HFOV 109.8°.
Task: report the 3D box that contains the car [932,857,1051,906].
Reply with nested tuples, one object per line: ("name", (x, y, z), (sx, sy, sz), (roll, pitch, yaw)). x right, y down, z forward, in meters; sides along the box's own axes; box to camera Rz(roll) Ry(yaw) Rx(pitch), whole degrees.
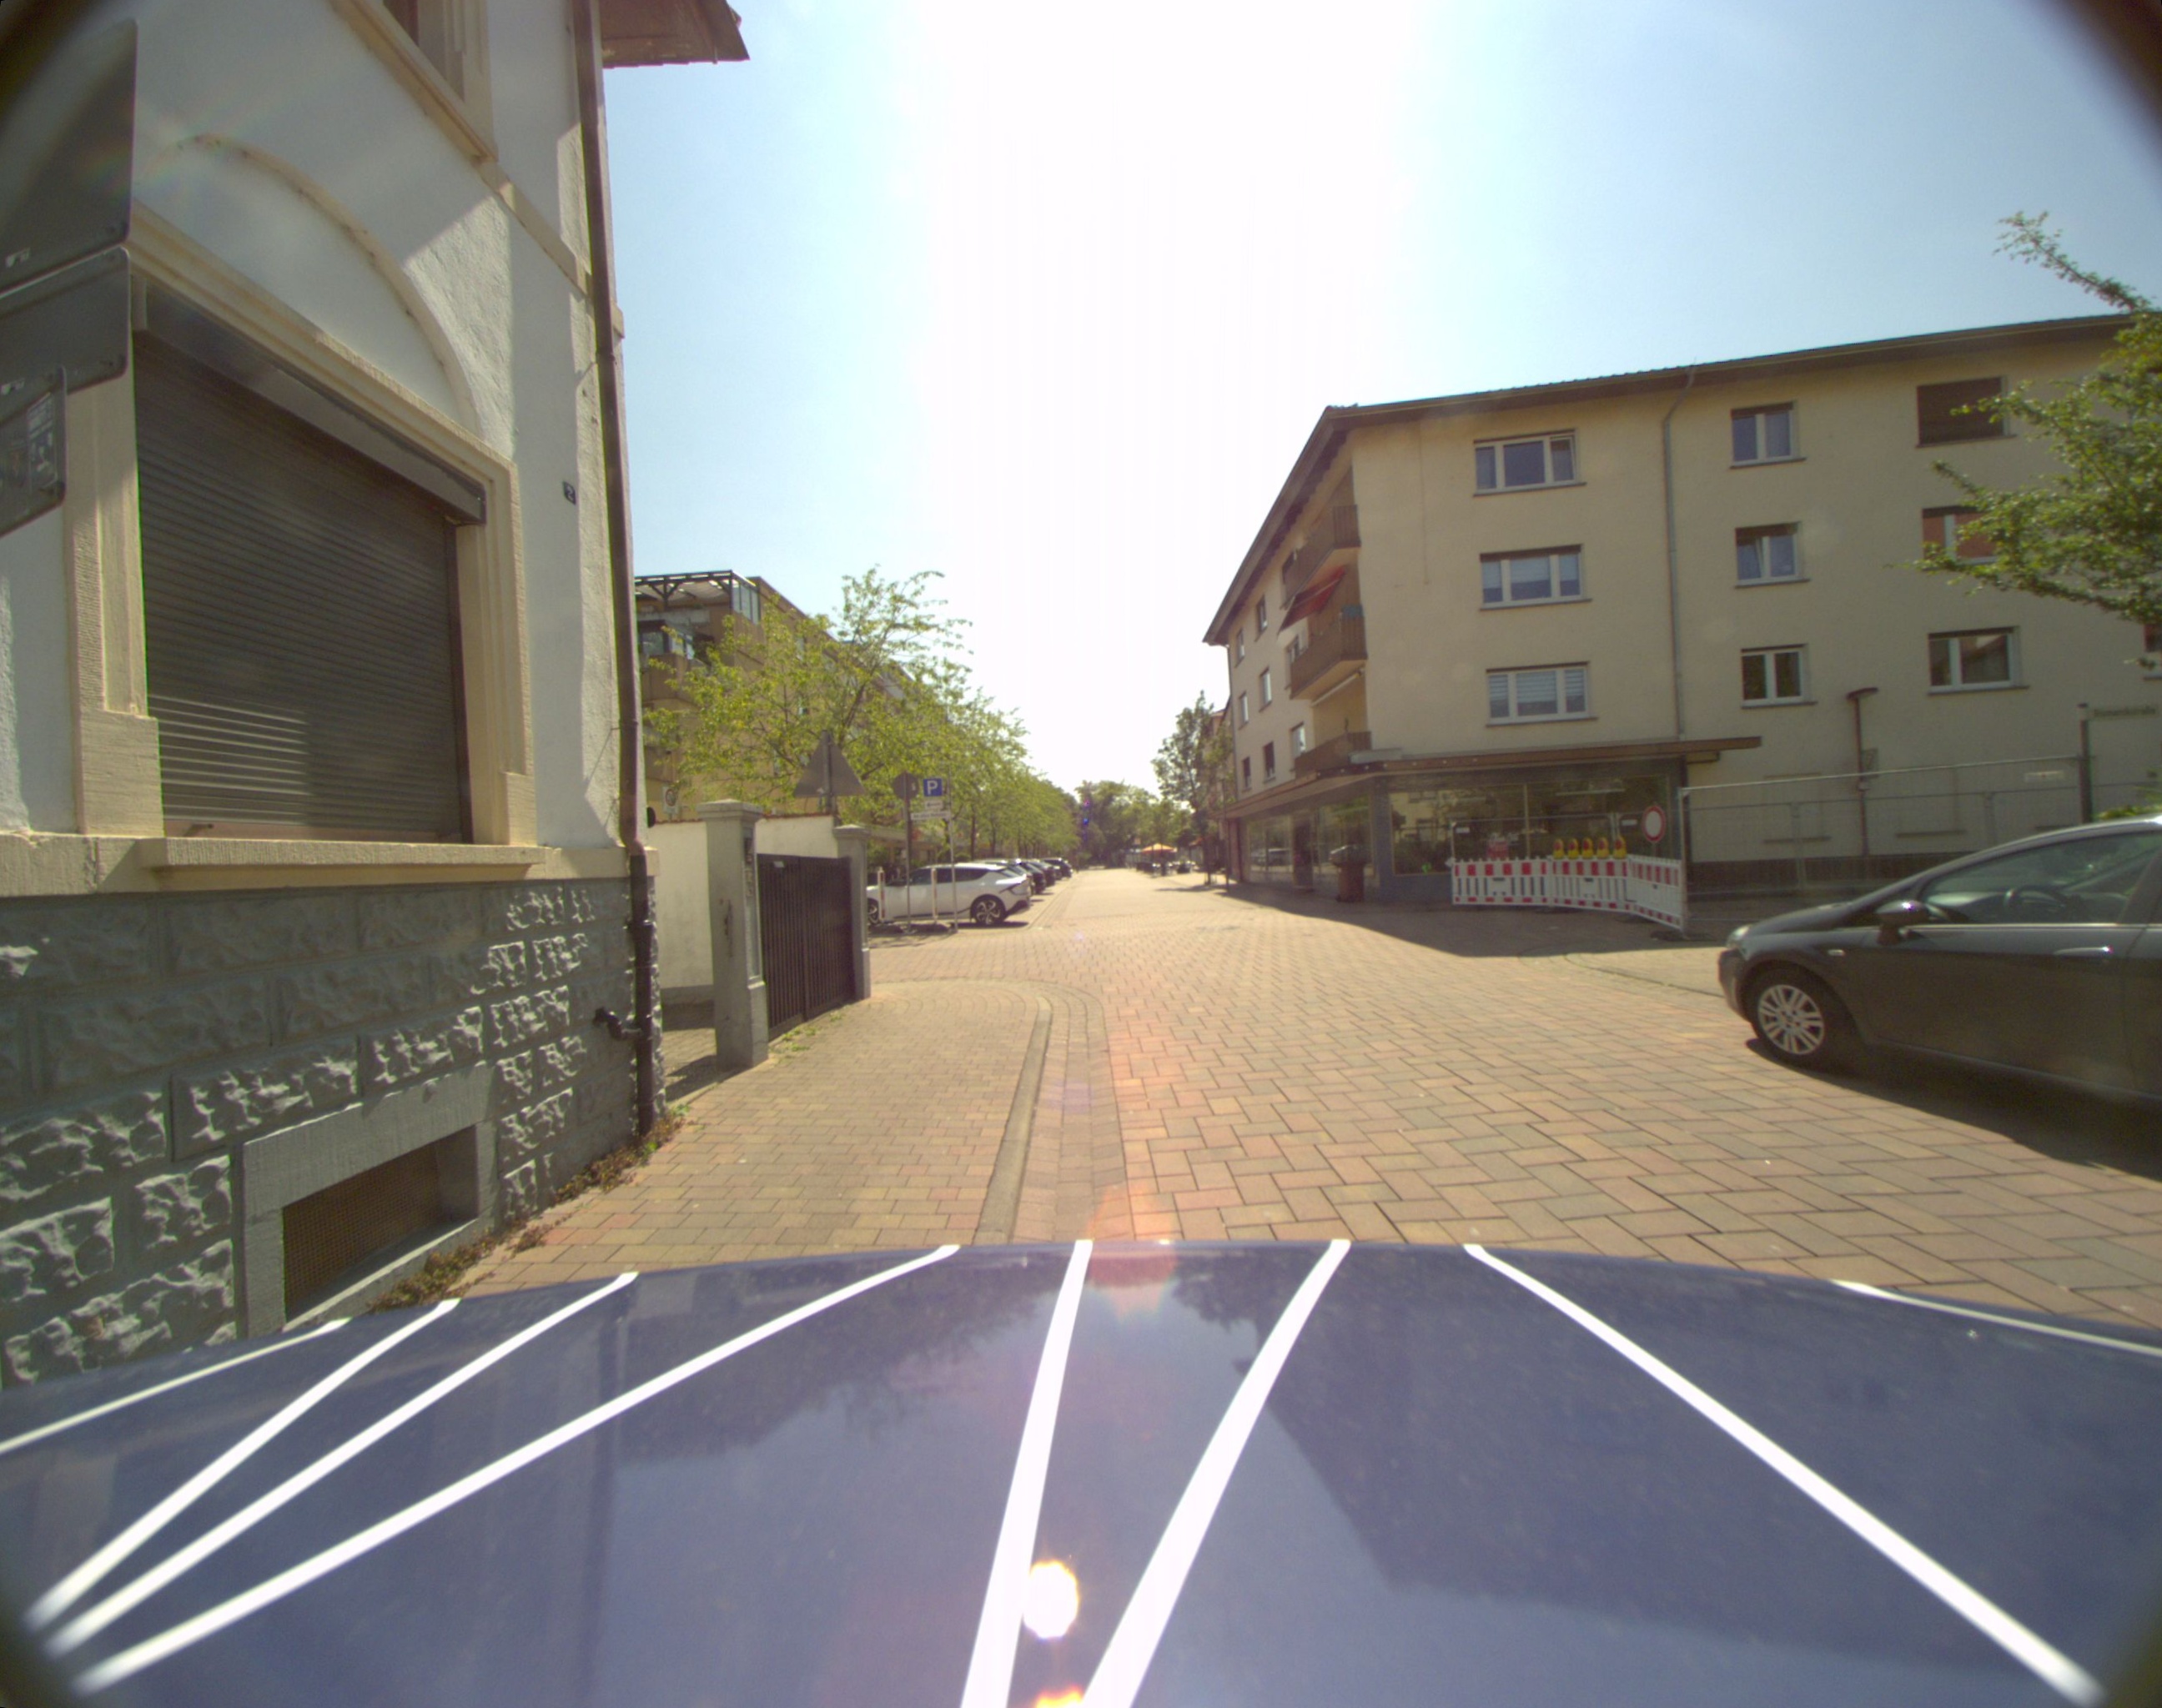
("car", (-3.360, 1.011, 29.183), (4.290, 1.671, 2.000), (-2, 0, -1))

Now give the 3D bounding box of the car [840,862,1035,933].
("car", (-3.462, 1.038, 18.941), (4.451, 1.566, 1.789), (-1, 0, 1))

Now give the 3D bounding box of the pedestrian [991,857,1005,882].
("pedestrian", (-5.900, 1.097, 54.249), (0.614, 1.721, 0.649), (-3, 1, 35))

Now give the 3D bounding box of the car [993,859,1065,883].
("car", (-3.436, 1.095, 50.130), (4.390, 1.455, 1.888), (-2, 0, -17))

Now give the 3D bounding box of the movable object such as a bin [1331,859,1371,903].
("movable object such as a bin", (6.823, 0.675, 19.227), (0.657, 1.064, 0.663), (-4, 0, -6))

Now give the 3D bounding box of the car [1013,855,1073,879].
("car", (-2.779, 0.930, 56.188), (4.254, 1.608, 1.757), (-2, 0, 0))

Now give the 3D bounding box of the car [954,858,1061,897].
("car", (-3.253, 1.030, 34.344), (4.518, 1.579, 1.851), (-2, 0, 3))

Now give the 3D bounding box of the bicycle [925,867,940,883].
("bicycle", (-10.742, 1.514, 54.925), (0.643, 1.075, 1.866), (-4, 1, 1))

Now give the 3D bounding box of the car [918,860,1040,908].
("car", (-3.461, 1.017, 26.407), (3.954, 1.525, 1.824), (-1, 0, 0))

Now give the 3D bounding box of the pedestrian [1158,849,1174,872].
("pedestrian", (6.611, 0.510, 59.136), (0.758, 1.770, 0.872), (-3, 1, 40))

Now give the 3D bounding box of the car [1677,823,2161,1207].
("car", (5.101, 0.618, 3.364), (1.707, 1.488, 3.856), (-3, 0, -3))

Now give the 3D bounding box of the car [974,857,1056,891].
("car", (-3.336, 0.994, 39.158), (4.037, 1.602, 1.681), (-1, 0, 0))
